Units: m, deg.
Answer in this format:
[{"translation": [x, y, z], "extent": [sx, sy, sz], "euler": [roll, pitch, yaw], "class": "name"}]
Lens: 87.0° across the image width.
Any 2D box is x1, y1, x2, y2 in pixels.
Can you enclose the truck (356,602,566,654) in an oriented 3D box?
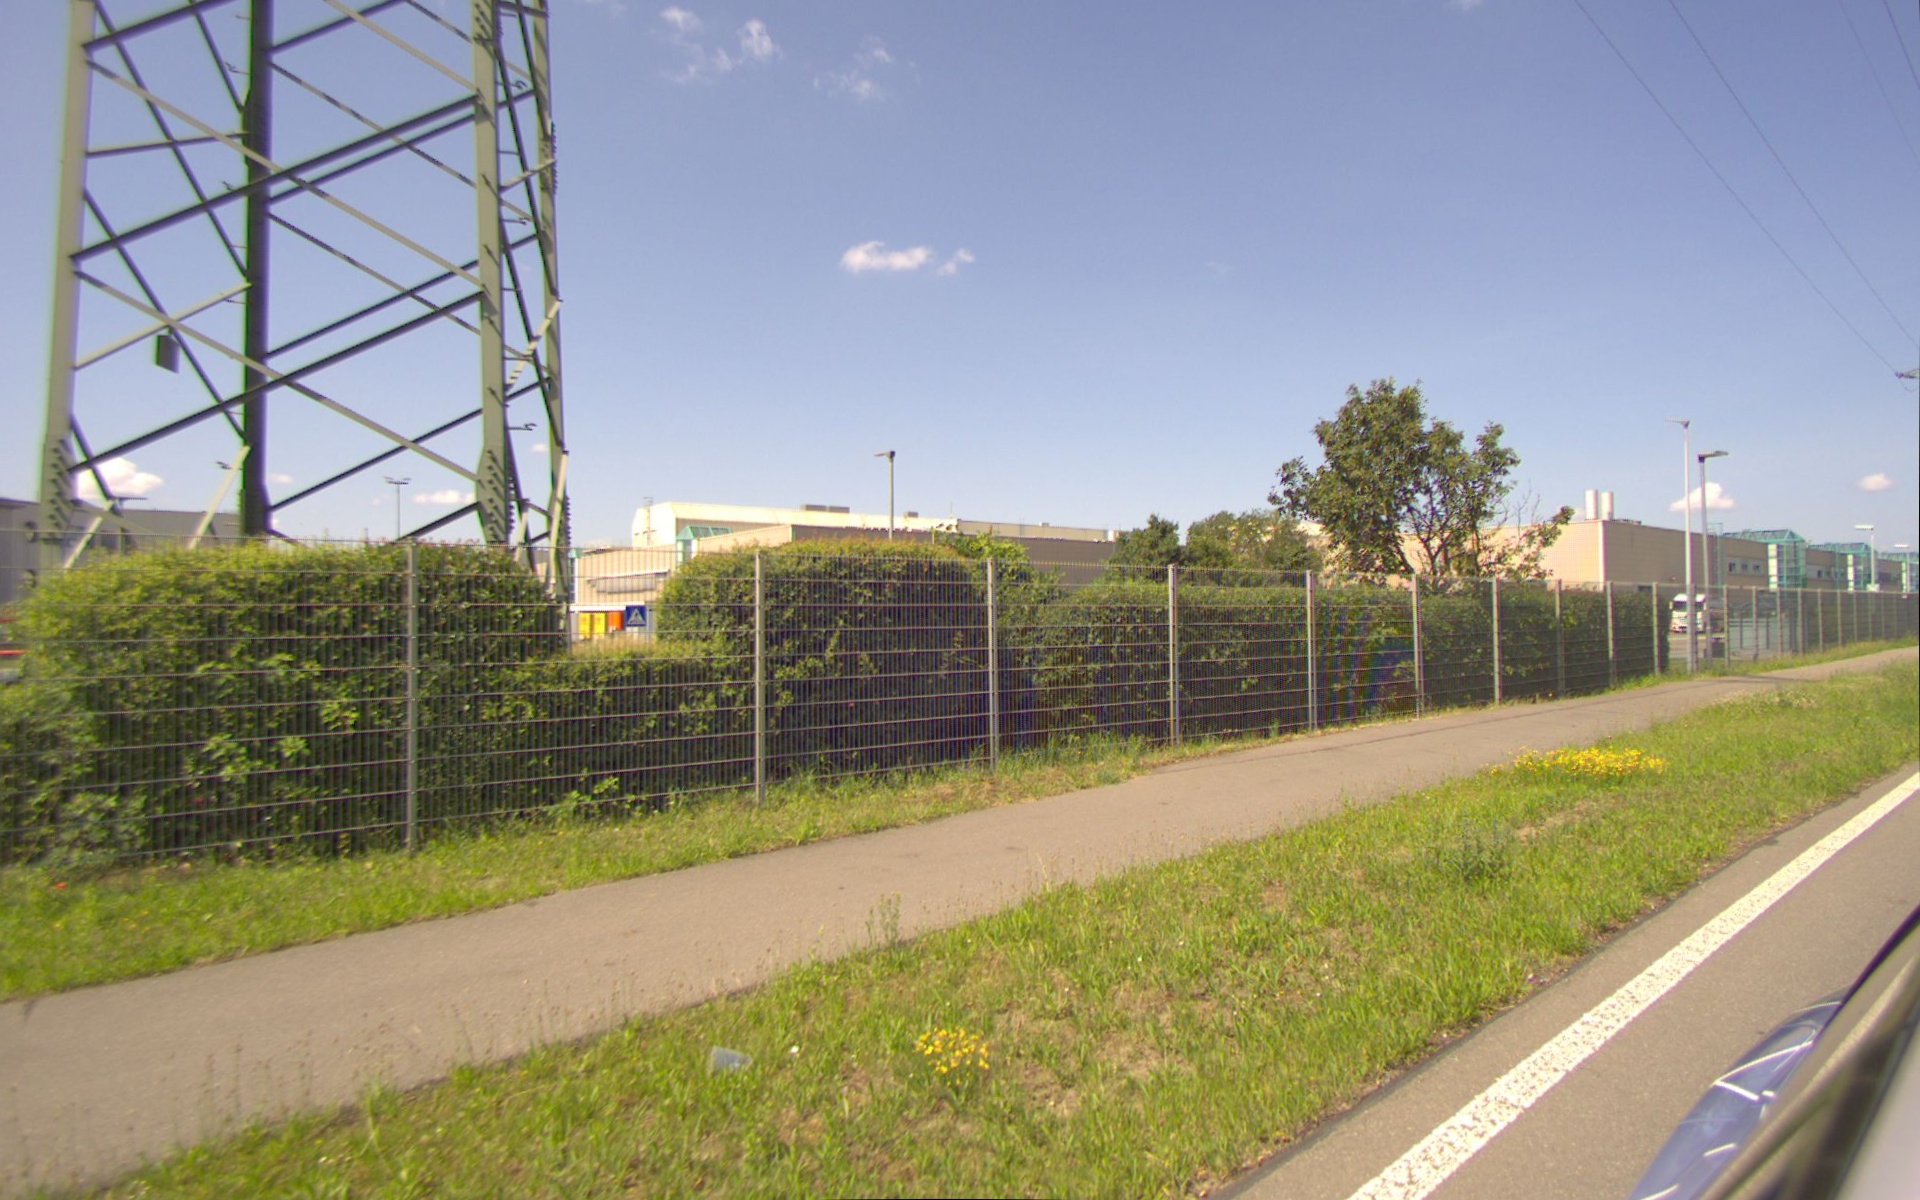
[{"translation": [-35.303, 1.903, 72.371], "extent": [13.386, 3.405, 1.997], "euler": [0, -2, -40], "class": "truck"}]
